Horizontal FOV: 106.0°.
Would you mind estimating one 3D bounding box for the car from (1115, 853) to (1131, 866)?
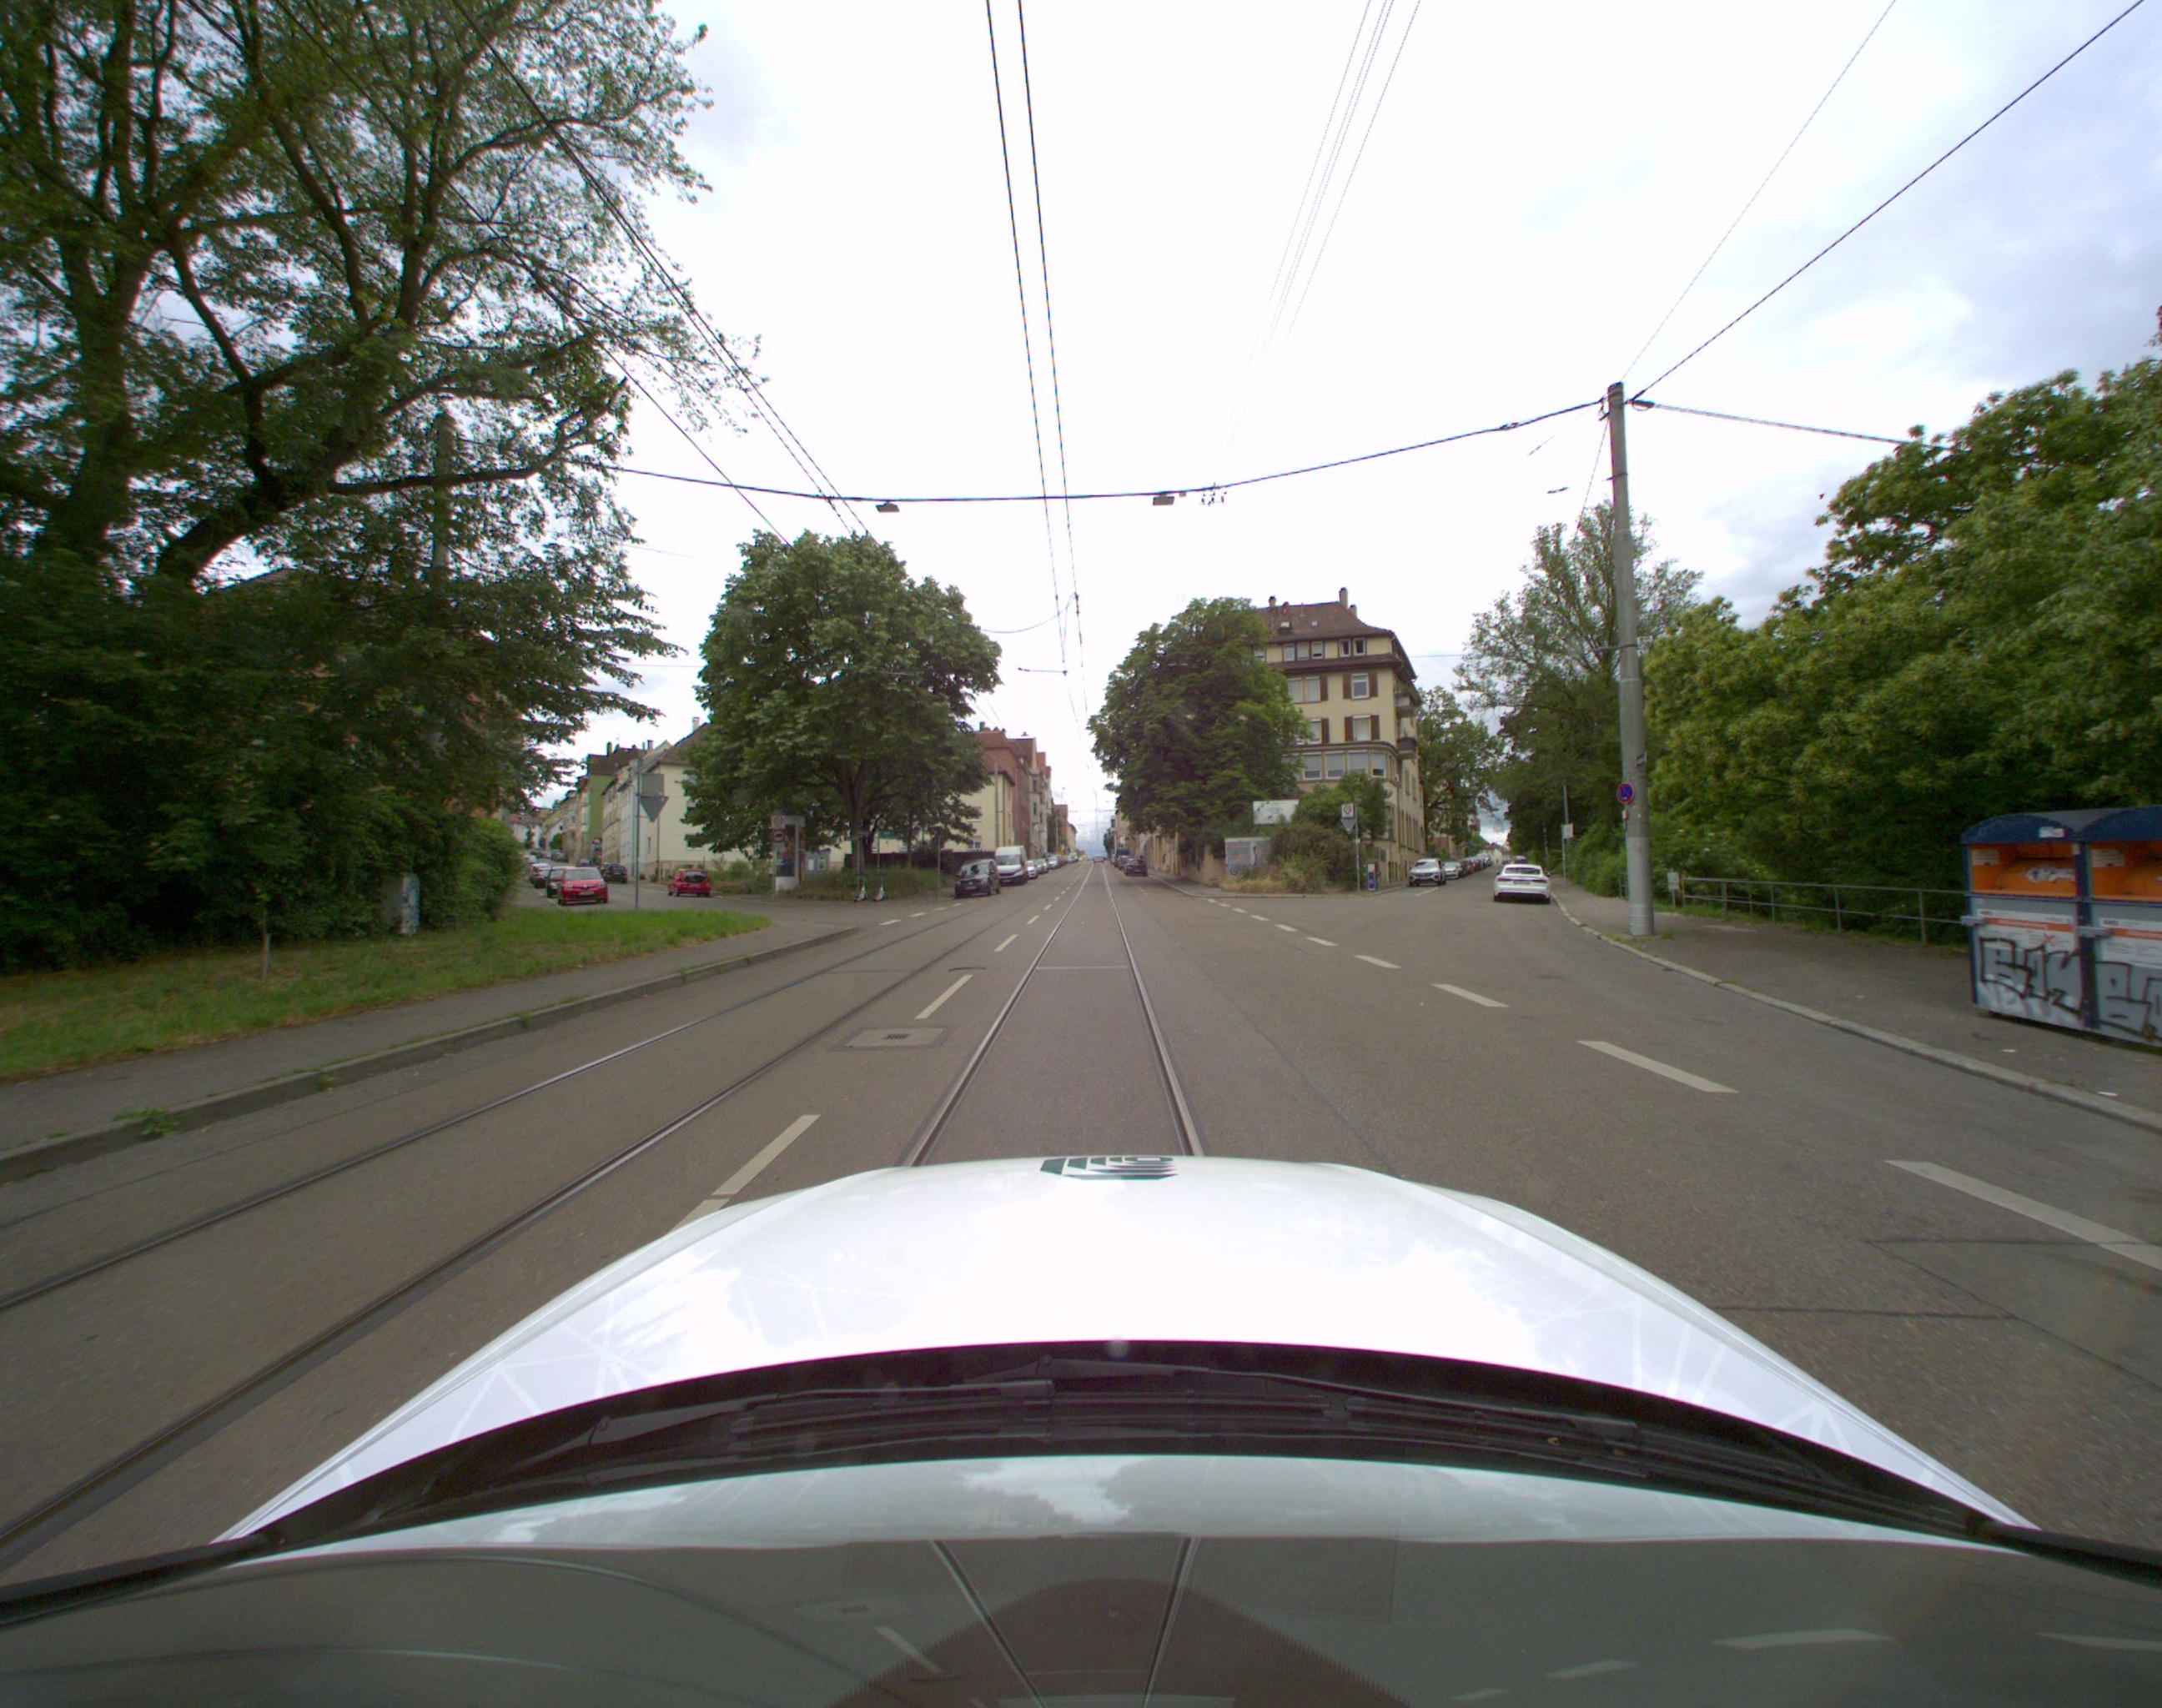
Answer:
[{"bbox_3d":[5.253,0.657,102.808,1.774,1.530,4.192,3,0,0],"label":"car"}]

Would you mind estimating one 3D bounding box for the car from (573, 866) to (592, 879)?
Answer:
[{"bbox_3d":[-58.034,2.157,94.840,1.683,1.415,3.691,1,-1,-35],"label":"car"}]

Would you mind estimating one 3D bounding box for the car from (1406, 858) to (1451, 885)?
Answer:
[{"bbox_3d":[20.603,1.014,48.142,1.823,1.534,4.533,-2,-2,30],"label":"car"}]

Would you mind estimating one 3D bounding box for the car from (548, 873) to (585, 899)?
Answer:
[{"bbox_3d":[-27.452,1.672,43.394,1.464,1.235,3.739,1,-1,-36],"label":"car"}]

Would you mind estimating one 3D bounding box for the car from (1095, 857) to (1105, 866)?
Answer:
[{"bbox_3d":[3.428,1.394,145.559,1.667,1.513,3.797,-1,0,0],"label":"car"}]

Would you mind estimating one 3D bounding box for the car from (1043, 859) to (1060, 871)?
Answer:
[{"bbox_3d":[-3.670,1.365,102.121,1.821,1.429,4.841,-3,0,2],"label":"car"}]

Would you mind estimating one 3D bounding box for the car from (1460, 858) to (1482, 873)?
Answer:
[{"bbox_3d":[41.882,1.258,87.404,1.727,1.541,3.810,-3,-2,29],"label":"car"}]

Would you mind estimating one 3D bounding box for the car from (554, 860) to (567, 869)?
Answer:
[{"bbox_3d":[-85.568,1.713,133.848,1.683,1.415,3.691,1,-1,-35],"label":"car"}]

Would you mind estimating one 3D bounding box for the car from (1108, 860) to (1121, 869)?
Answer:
[{"bbox_3d":[5.332,1.596,129.913,1.744,1.390,4.307,1,0,0],"label":"car"}]

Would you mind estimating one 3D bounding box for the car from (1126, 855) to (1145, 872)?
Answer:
[{"bbox_3d":[5.027,0.863,75.560,1.689,1.404,3.669,1,0,2],"label":"car"}]

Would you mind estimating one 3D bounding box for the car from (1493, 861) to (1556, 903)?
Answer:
[{"bbox_3d":[16.493,0.972,30.365,1.876,1.381,4.628,2,1,28],"label":"car"}]

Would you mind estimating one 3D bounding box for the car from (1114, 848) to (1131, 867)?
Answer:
[{"bbox_3d":[5.482,0.465,108.267,1.986,2.376,5.057,-1,-1,1],"label":"car"}]

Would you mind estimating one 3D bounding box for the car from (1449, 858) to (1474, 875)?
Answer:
[{"bbox_3d":[35.359,1.166,75.623,1.727,1.541,3.810,-3,-2,29],"label":"car"}]

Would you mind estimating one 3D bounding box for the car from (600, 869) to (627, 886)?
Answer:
[{"bbox_3d":[-39.933,1.988,69.527,1.683,1.415,3.691,1,-1,-35],"label":"car"}]

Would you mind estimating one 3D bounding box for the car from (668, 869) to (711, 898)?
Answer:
[{"bbox_3d":[-20.742,1.533,43.061,1.658,1.415,3.693,0,-1,-32],"label":"car"}]

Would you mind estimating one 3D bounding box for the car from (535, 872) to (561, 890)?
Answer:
[{"bbox_3d":[-40.300,2.007,61.543,1.464,1.235,3.384,1,-1,-36],"label":"car"}]

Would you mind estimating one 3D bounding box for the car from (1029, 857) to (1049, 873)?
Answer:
[{"bbox_3d":[-4.241,1.109,83.010,1.822,1.429,4.626,-4,0,-1],"label":"car"}]

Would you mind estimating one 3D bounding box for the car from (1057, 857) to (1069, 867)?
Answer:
[{"bbox_3d":[-3.058,1.340,137.952,1.690,1.468,3.024,-3,-1,2],"label":"car"}]

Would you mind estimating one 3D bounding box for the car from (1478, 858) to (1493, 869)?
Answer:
[{"bbox_3d":[59.751,1.363,120.232,1.727,1.541,3.810,-3,-2,29],"label":"car"}]

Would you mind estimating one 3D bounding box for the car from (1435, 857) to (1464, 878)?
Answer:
[{"bbox_3d":[29.846,1.083,65.863,1.727,1.541,3.810,-3,-2,29],"label":"car"}]

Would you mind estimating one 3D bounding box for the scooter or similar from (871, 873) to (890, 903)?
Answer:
[{"bbox_3d":[-8.481,1.422,34.448,0.310,1.145,1.718,-1,1,1],"label":"scooter or similar"}]

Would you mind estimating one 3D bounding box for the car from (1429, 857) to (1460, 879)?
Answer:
[{"bbox_3d":[27.635,1.041,61.900,1.727,1.541,3.810,-3,-2,29],"label":"car"}]

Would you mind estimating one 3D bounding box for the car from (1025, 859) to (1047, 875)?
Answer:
[{"bbox_3d":[-4.324,1.226,78.449,1.594,1.368,3.809,-4,0,2],"label":"car"}]

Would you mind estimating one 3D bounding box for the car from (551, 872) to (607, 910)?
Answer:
[{"bbox_3d":[-21.138,1.499,34.215,1.757,1.478,3.574,1,-1,-36],"label":"car"}]

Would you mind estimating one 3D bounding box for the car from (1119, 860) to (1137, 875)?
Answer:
[{"bbox_3d":[5.207,1.456,90.594,1.821,1.519,4.029,1,0,2],"label":"car"}]

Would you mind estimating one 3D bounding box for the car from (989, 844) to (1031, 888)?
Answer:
[{"bbox_3d":[-4.732,0.767,55.060,2.152,2.606,6.217,-4,0,0],"label":"car"}]

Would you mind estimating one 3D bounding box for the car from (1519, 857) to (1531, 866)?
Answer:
[{"bbox_3d":[76.878,1.340,141.088,1.727,1.541,3.810,-3,-2,29],"label":"car"}]

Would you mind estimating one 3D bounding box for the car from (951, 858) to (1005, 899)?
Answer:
[{"bbox_3d":[-5.081,1.172,40.747,1.755,1.775,4.671,-4,-1,3],"label":"car"}]

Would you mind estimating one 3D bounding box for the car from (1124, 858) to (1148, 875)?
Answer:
[{"bbox_3d":[4.686,1.083,69.227,1.833,1.403,4.168,1,-1,1],"label":"car"}]

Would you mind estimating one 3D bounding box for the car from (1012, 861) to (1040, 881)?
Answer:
[{"bbox_3d":[-4.346,1.333,64.843,1.713,1.403,4.314,-4,0,1],"label":"car"}]

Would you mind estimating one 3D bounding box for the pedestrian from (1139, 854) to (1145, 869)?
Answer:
[{"bbox_3d":[7.229,0.860,96.550,0.540,1.682,0.515,-5,-3,-7],"label":"pedestrian"}]

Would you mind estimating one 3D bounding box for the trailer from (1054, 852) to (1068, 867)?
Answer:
[{"bbox_3d":[-3.110,0.880,126.216,1.742,2.155,4.073,-3,0,2],"label":"trailer"}]

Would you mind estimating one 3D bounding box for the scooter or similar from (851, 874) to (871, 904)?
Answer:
[{"bbox_3d":[-9.232,1.443,34.231,0.310,1.145,1.718,-1,1,1],"label":"scooter or similar"}]

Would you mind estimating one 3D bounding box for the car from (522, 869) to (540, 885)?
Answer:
[{"bbox_3d":[-57.024,2.395,84.393,1.464,1.479,3.739,1,-3,-36],"label":"car"}]
